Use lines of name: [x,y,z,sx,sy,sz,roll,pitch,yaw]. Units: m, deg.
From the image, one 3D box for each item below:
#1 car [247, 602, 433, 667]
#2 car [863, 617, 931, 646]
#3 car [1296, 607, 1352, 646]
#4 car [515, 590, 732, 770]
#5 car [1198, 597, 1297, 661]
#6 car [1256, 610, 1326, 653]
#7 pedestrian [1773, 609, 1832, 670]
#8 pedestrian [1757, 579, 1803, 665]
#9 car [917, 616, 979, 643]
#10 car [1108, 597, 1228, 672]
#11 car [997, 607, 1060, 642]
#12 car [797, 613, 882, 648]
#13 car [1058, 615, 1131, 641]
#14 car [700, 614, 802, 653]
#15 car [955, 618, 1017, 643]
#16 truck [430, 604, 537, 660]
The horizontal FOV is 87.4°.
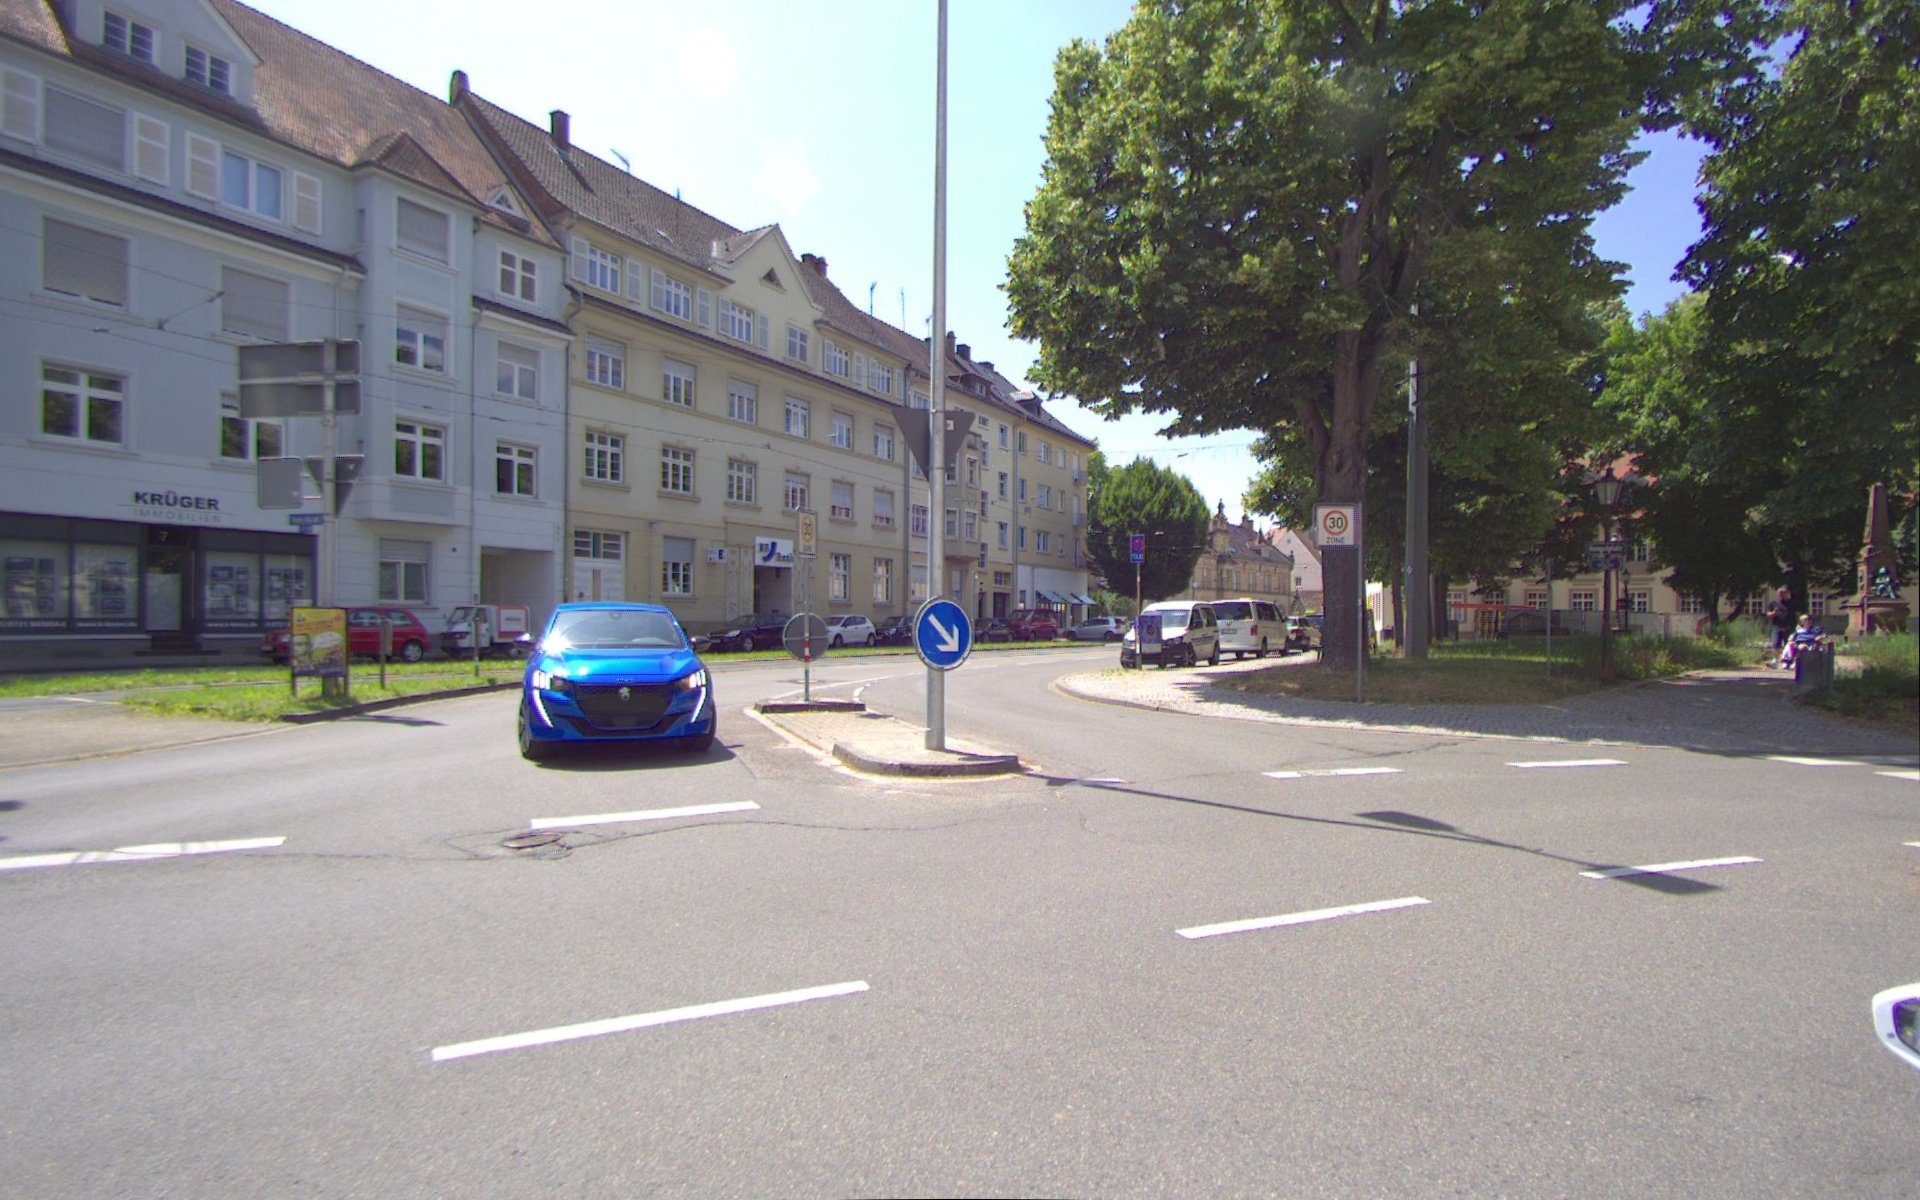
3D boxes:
car: [-15.198,0.846,24.792,1.548,1.470,3.619,-2,-2,29]
car: [-2.932,1.471,46.987,1.661,1.294,3.283,-2,-2,29]
car: [17.102,1.230,47.087,1.757,1.716,4.191,1,-1,31]
car: [-3.584,0.690,10.606,1.788,1.512,3.981,0,0,-20]
car: [9.981,0.957,34.617,2.020,2.029,5.238,1,-1,31]
car: [13.530,1.257,40.883,1.757,1.645,4.476,1,-1,31]
pedestrian: [18.561,0.842,22.122,0.896,1.269,1.141,0,1,45]
pedestrian: [18.730,0.488,22.946,0.680,1.936,0.740,-1,1,-45]
car: [-0.597,1.504,51.163,1.578,1.294,3.580,-2,-2,29]
car: [5.745,0.890,27.298,1.964,1.850,4.415,1,-1,29]
car: [4.096,1.444,59.444,1.826,1.936,4.763,-2,-2,29]
car: [-5.081,1.297,42.853,1.661,1.408,3.851,-2,-2,29]
car: [8.469,1.763,63.420,4.138,1.525,2.002,-2,-2,26]
car: [-7.803,1.233,37.858,1.661,1.378,3.851,-2,-2,29]
car: [1.466,1.636,54.908,1.617,1.294,4.257,-2,-2,29]
truck: [-13.453,0.895,28.473,1.109,1.514,2.590,-2,-2,28]
